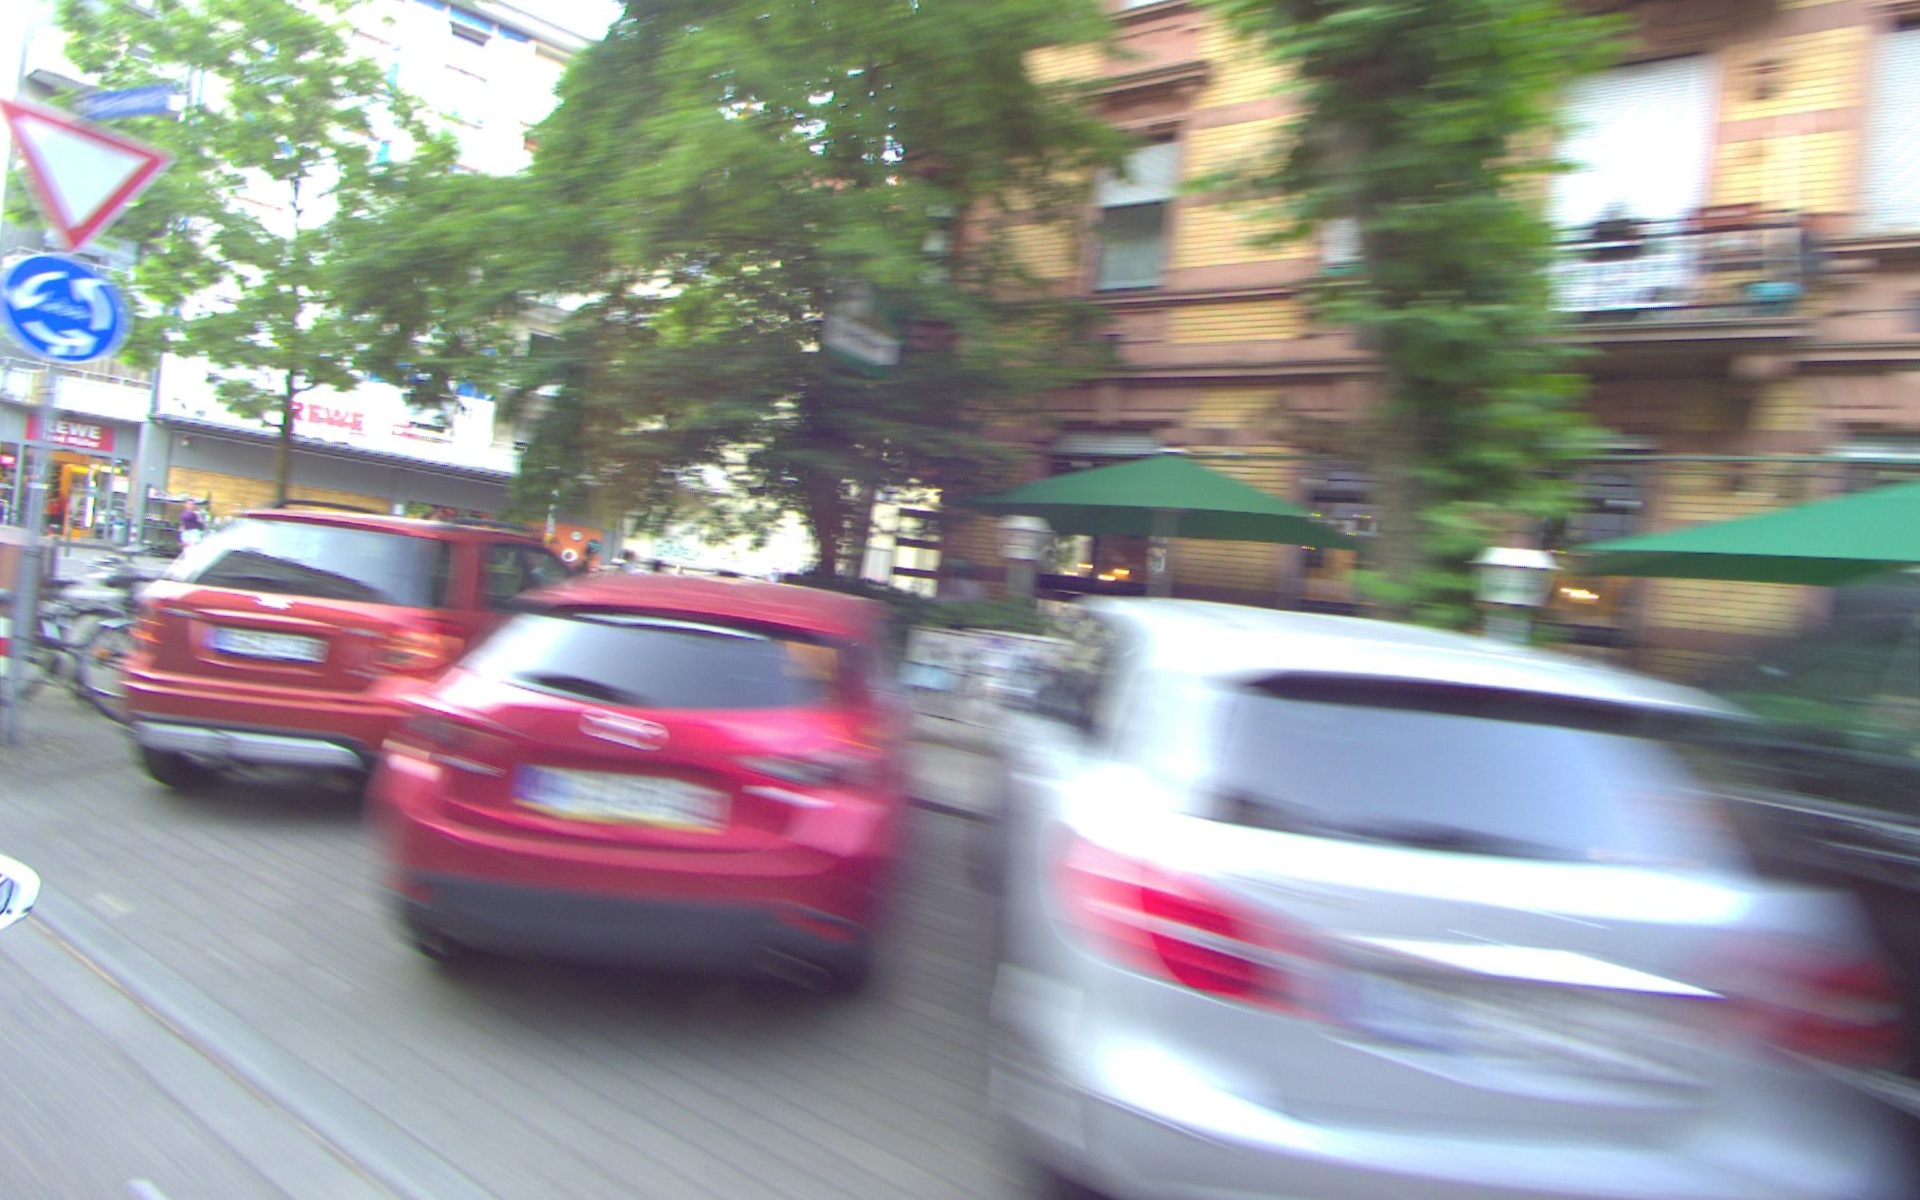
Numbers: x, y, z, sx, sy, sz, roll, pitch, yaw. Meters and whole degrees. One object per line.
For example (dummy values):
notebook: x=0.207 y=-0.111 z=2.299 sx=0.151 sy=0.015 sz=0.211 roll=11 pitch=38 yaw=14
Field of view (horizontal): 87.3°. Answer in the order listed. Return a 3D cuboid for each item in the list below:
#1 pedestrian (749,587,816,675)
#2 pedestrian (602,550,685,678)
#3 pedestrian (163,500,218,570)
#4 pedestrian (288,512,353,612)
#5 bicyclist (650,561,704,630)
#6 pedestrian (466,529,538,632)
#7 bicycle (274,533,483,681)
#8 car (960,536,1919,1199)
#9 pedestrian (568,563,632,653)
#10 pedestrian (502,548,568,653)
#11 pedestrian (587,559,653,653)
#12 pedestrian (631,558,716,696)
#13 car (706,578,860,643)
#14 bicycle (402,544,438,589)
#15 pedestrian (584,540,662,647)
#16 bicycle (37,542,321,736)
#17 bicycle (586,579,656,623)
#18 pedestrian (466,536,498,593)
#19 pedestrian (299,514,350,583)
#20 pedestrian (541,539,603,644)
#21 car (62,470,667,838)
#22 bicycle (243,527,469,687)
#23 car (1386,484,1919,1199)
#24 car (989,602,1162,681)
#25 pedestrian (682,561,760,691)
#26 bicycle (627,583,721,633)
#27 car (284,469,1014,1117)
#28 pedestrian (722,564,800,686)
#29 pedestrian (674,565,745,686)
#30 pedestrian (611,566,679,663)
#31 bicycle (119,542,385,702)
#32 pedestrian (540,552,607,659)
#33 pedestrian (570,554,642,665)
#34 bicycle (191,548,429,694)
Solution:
pedestrian: x=-2.979 y=0.524 z=16.877 sx=0.728 sy=1.361 sz=0.625 roll=6 pitch=-1 yaw=35
pedestrian: x=-3.766 y=0.181 z=11.991 sx=0.505 sy=1.425 sz=0.640 roll=7 pitch=-1 yaw=20
pedestrian: x=-19.875 y=-1.672 z=25.984 sx=0.706 sy=1.671 sz=0.712 roll=7 pitch=-1 yaw=-9
pedestrian: x=-12.414 y=-0.722 z=19.520 sx=0.860 sy=1.790 sz=0.940 roll=8 pitch=-1 yaw=-34
bicyclist: x=-7.714 y=-0.121 z=27.442 sx=0.992 sy=1.710 sz=0.781 roll=7 pitch=1 yaw=-45
pedestrian: x=-8.871 y=-0.381 z=19.490 sx=0.863 sy=1.849 sz=0.827 roll=8 pitch=-2 yaw=-44
bicycle: x=-6.089 y=0.079 z=10.600 sx=1.692 sy=1.304 sz=0.598 roll=7 pitch=0 yaw=-4
car: x=1.054 y=0.752 z=3.871 sx=1.898 sy=1.644 sz=4.219 roll=6 pitch=2 yaw=-1
pedestrian: x=-5.460 y=0.126 z=15.269 sx=0.565 sy=1.284 sz=0.545 roll=6 pitch=-1 yaw=33
pedestrian: x=-5.972 y=0.010 z=14.153 sx=0.459 sy=1.396 sz=0.546 roll=6 pitch=-1 yaw=30
pedestrian: x=-4.990 y=0.091 z=14.779 sx=0.565 sy=1.284 sz=0.545 roll=6 pitch=-1 yaw=33
pedestrian: x=-3.136 y=0.306 z=11.039 sx=0.505 sy=1.425 sz=0.555 roll=7 pitch=-1 yaw=20
car: x=-5.843 y=0.361 z=33.310 sx=4.460 sy=1.543 sz=2.002 roll=7 pitch=-2 yaw=20
bicycle: x=-16.056 y=-0.974 z=29.920 sx=0.343 sy=1.217 sz=1.806 roll=7 pitch=-2 yaw=-13
pedestrian: x=-6.316 y=-0.114 z=18.884 sx=0.853 sy=1.849 sz=0.836 roll=6 pitch=-1 yaw=27
bicycle: x=-5.346 y=0.265 z=7.004 sx=0.358 sy=1.176 sz=1.552 roll=7 pitch=0 yaw=18
bicycle: x=-9.957 y=0.047 z=29.642 sx=0.483 sy=1.038 sz=2.013 roll=6 pitch=-2 yaw=31
pedestrian: x=-14.470 y=-1.077 z=30.459 sx=0.659 sy=1.619 sz=0.713 roll=8 pitch=-1 yaw=-28
pedestrian: x=-17.273 y=-1.389 z=27.353 sx=0.653 sy=1.746 sz=0.723 roll=7 pitch=-1 yaw=11
pedestrian: x=-7.000 y=-0.147 z=18.180 sx=0.825 sy=1.743 sz=0.865 roll=7 pitch=-1 yaw=-20
car: x=-3.602 y=0.254 z=7.090 sx=1.662 sy=1.649 sz=4.046 roll=7 pitch=1 yaw=1
bicycle: x=-5.857 y=0.074 z=9.792 sx=1.735 sy=1.303 sz=0.599 roll=7 pitch=-1 yaw=5
car: x=3.457 y=0.852 z=2.446 sx=1.899 sy=2.100 sz=5.427 roll=6 pitch=2 yaw=-6
car: x=2.871 y=1.020 z=26.124 sx=1.980 sy=1.543 sz=4.509 roll=8 pitch=-2 yaw=-31
pedestrian: x=-2.769 y=0.312 z=11.678 sx=0.505 sy=1.425 sz=0.555 roll=7 pitch=-1 yaw=20
bicycle: x=-7.770 y=0.222 z=27.428 sx=2.272 sy=1.086 sz=0.781 roll=8 pitch=0 yaw=-45
car: x=-1.065 y=0.516 z=4.977 sx=1.899 sy=1.710 sz=4.216 roll=6 pitch=2 yaw=-6
pedestrian: x=-2.464 y=0.314 z=12.489 sx=0.608 sy=1.425 sz=0.514 roll=7 pitch=-1 yaw=20
pedestrian: x=-3.157 y=0.327 z=12.732 sx=0.608 sy=1.425 sz=0.514 roll=7 pitch=-1 yaw=-1
pedestrian: x=-4.489 y=0.212 z=14.354 sx=0.565 sy=1.284 sz=0.545 roll=6 pitch=-1 yaw=33
bicycle: x=-5.873 y=0.185 z=8.383 sx=1.735 sy=1.076 sz=0.599 roll=7 pitch=-1 yaw=5
pedestrian: x=-5.330 y=0.081 z=13.883 sx=0.459 sy=1.396 sz=0.546 roll=6 pitch=-1 yaw=30
pedestrian: x=-4.749 y=0.131 z=13.490 sx=0.566 sy=1.396 sz=0.544 roll=6 pitch=-1 yaw=39
bicycle: x=-5.803 y=0.172 z=9.013 sx=1.735 sy=1.077 sz=0.598 roll=6 pitch=2 yaw=5
